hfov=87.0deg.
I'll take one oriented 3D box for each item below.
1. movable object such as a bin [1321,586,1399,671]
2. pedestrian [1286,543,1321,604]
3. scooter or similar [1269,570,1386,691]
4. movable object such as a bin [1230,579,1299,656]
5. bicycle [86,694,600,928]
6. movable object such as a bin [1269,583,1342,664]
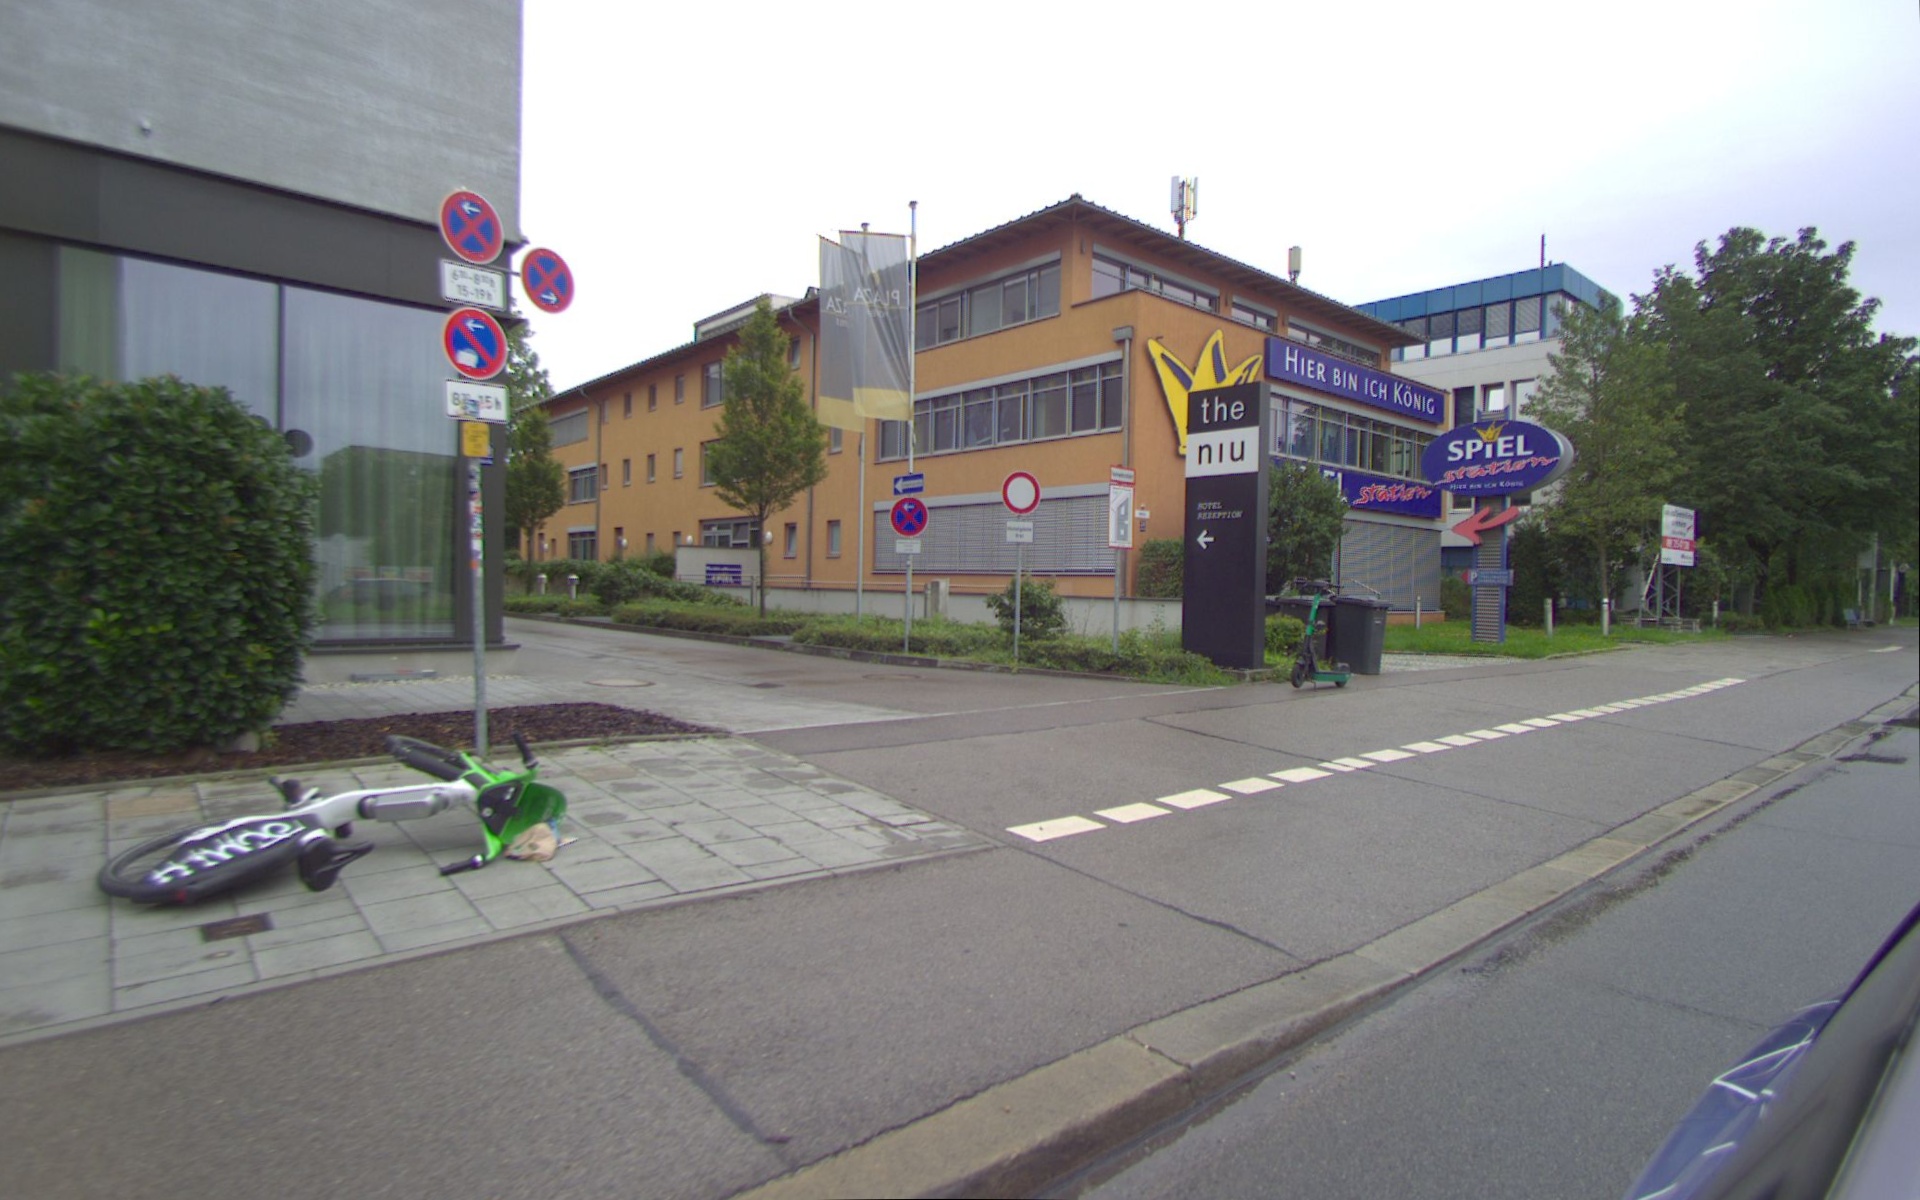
[{"bbox_3d":[5.468,0.370,13.847,0.644,1.091,0.738,0,2,-40],"label":"movable object such as a bin"},{"bbox_3d":[9.881,-0.758,29.140,0.648,1.733,0.662,0,2,-40],"label":"pedestrian"},{"bbox_3d":[4.323,0.331,11.866,1.379,1.292,0.587,0,6,-41],"label":"scooter or similar"},{"bbox_3d":[4.582,0.252,15.244,0.644,1.091,0.738,0,2,-40],"label":"movable object such as a bin"},{"bbox_3d":[-2.463,0.773,4.159,1.702,0.555,0.721,0,5,-41],"label":"bicycle"},{"bbox_3d":[4.934,0.317,14.466,0.644,1.091,0.738,0,2,-40],"label":"movable object such as a bin"}]
